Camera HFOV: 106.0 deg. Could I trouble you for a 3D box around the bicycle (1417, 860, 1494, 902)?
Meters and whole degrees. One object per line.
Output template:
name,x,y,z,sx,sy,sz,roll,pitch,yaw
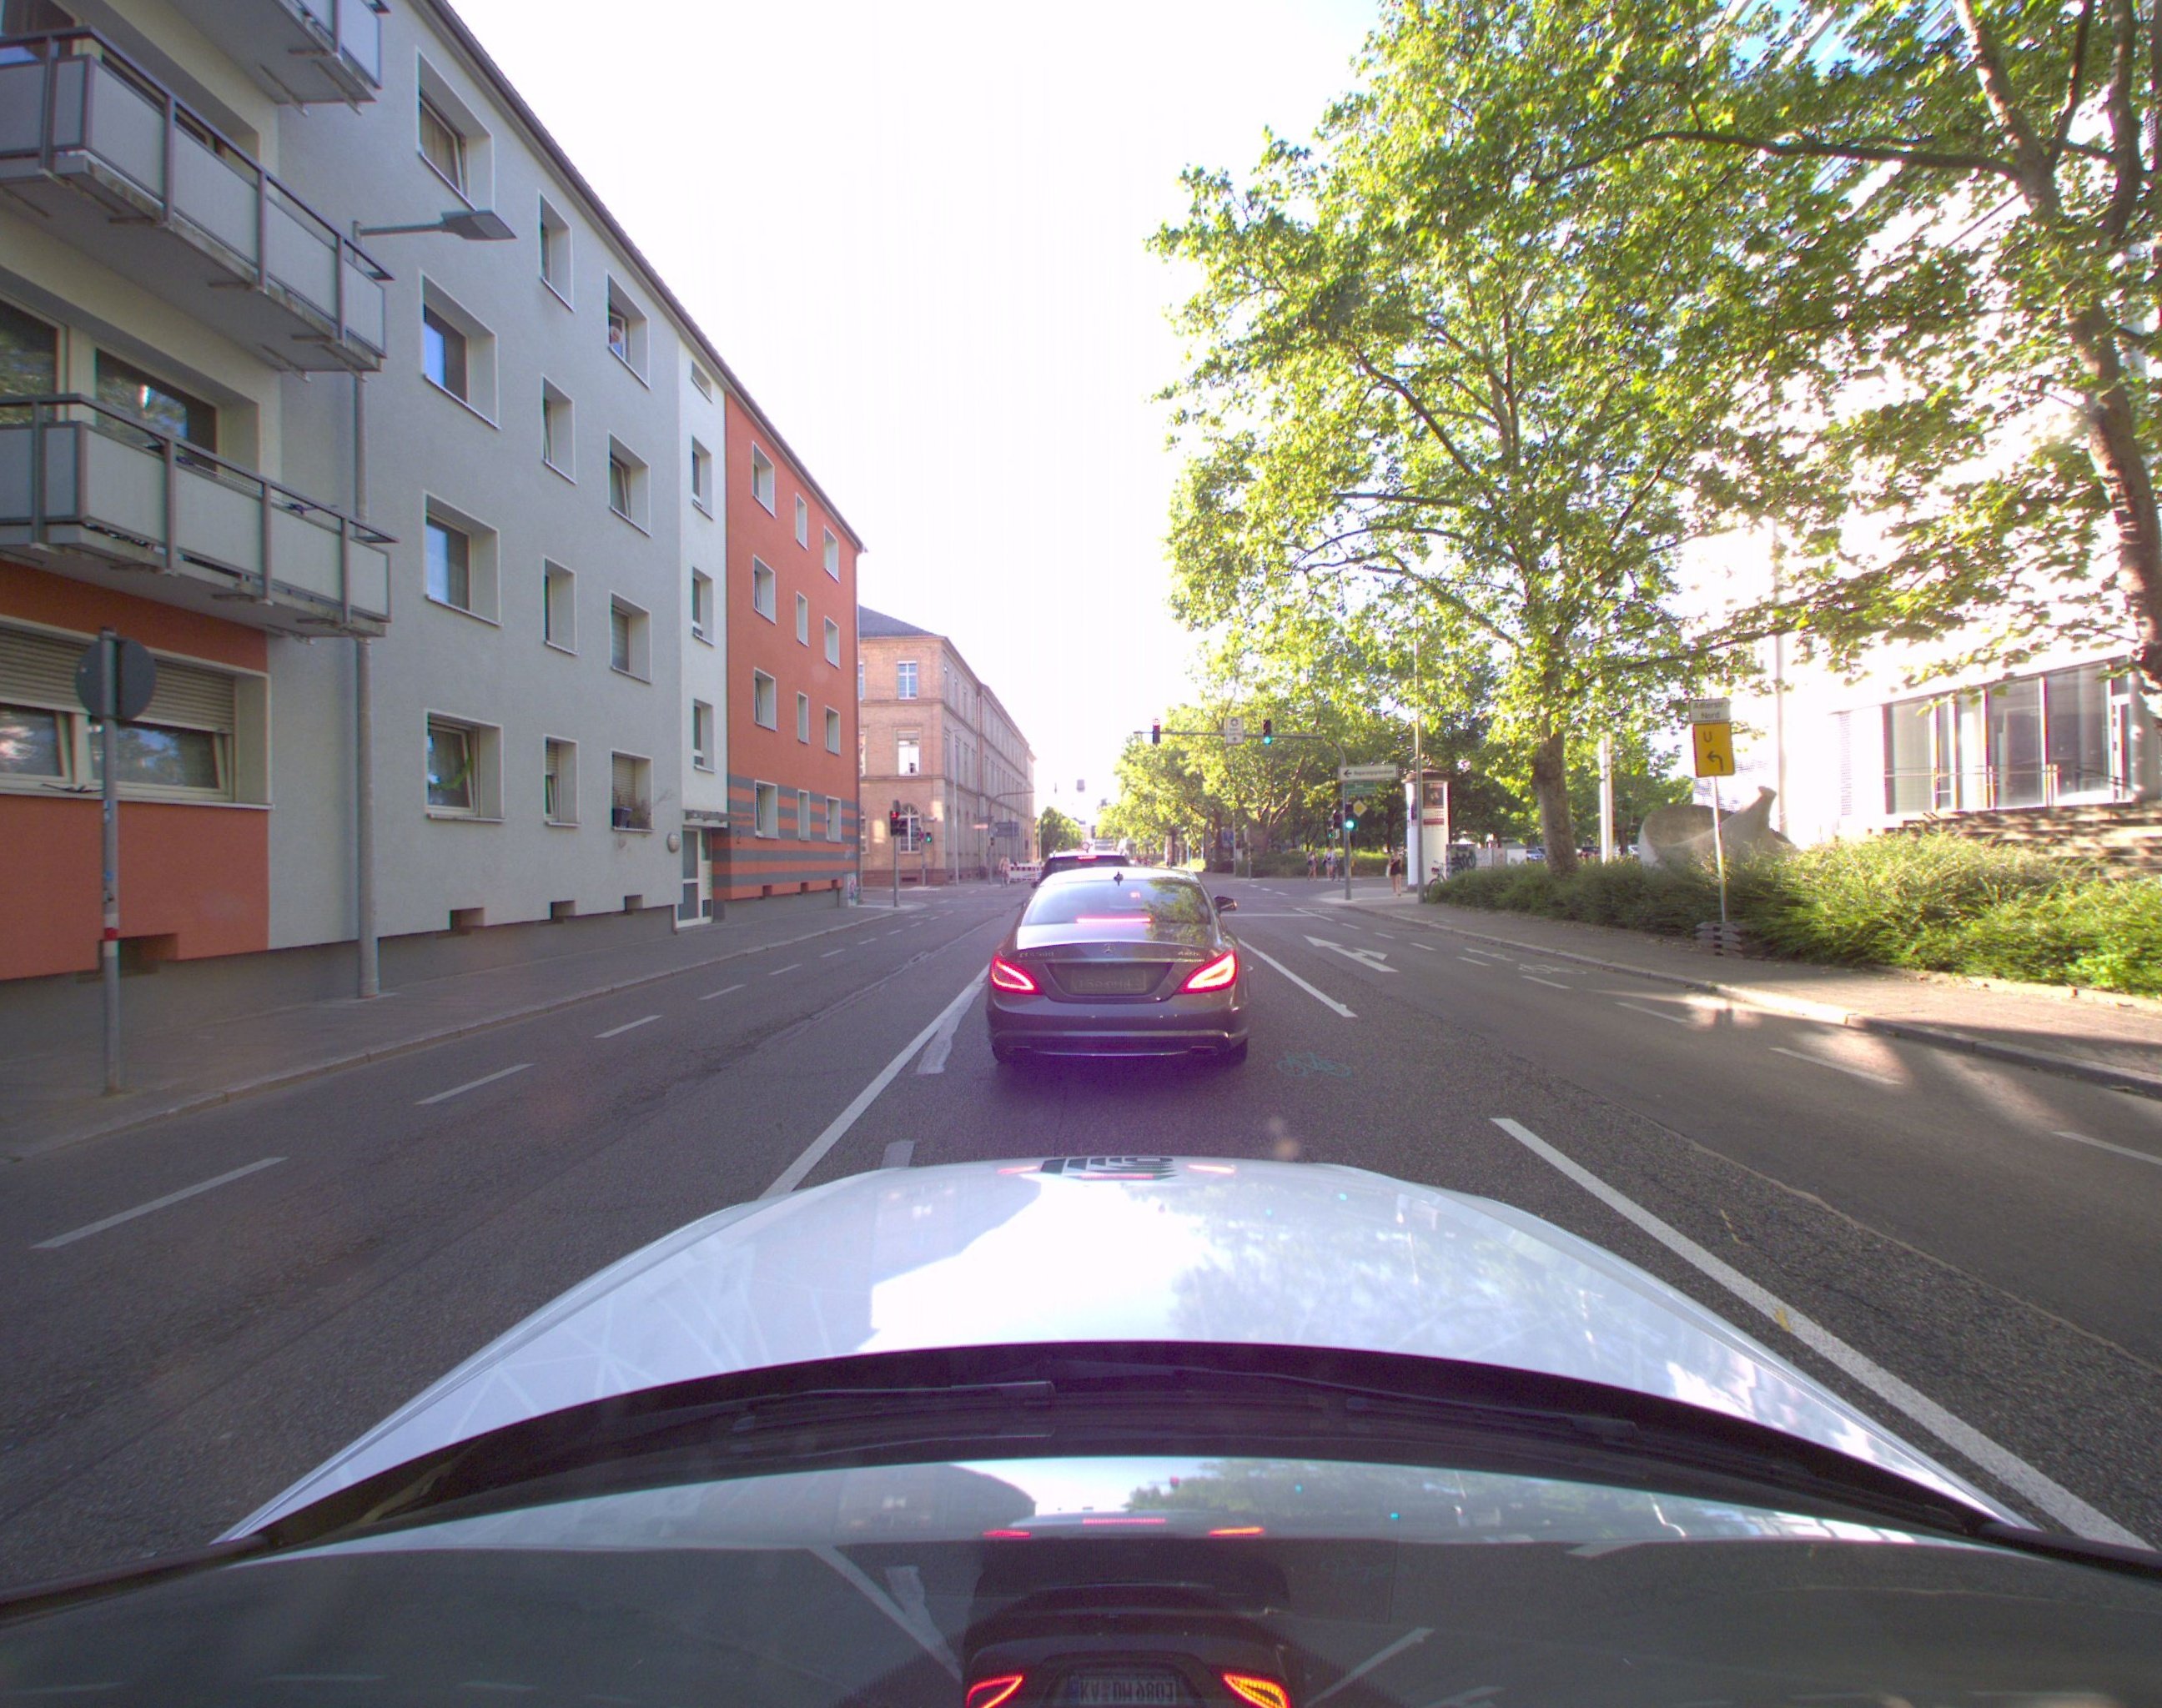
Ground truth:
bicycle,10.797,0.771,23.500,1.969,1.190,0.528,0,-1,0

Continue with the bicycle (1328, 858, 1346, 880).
bicycle,13.122,0.745,41.756,0.522,1.100,1.743,0,-1,4

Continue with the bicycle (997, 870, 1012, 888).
bicycle,-3.919,1.267,41.937,0.546,0.891,1.868,0,-1,2

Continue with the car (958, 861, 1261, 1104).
car,0.453,0.790,7.187,1.833,1.429,4.527,0,0,8

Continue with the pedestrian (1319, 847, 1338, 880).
pedestrian,12.748,0.492,42.014,0.680,1.697,0.971,0,-1,2

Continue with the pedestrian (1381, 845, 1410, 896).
pedestrian,10.398,0.529,26.957,0.791,1.630,0.912,-3,-2,19

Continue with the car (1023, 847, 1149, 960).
car,0.197,0.741,13.858,1.801,1.612,4.003,-1,-1,3

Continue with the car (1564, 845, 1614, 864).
car,39.737,0.054,63.822,1.624,1.483,3.796,0,-1,1

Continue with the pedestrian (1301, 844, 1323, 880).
pedestrian,11.945,0.411,42.114,0.731,1.808,0.907,-2,-2,-5

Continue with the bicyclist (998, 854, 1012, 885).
bicyclist,-3.915,0.809,41.983,0.646,1.558,0.807,0,-1,1
